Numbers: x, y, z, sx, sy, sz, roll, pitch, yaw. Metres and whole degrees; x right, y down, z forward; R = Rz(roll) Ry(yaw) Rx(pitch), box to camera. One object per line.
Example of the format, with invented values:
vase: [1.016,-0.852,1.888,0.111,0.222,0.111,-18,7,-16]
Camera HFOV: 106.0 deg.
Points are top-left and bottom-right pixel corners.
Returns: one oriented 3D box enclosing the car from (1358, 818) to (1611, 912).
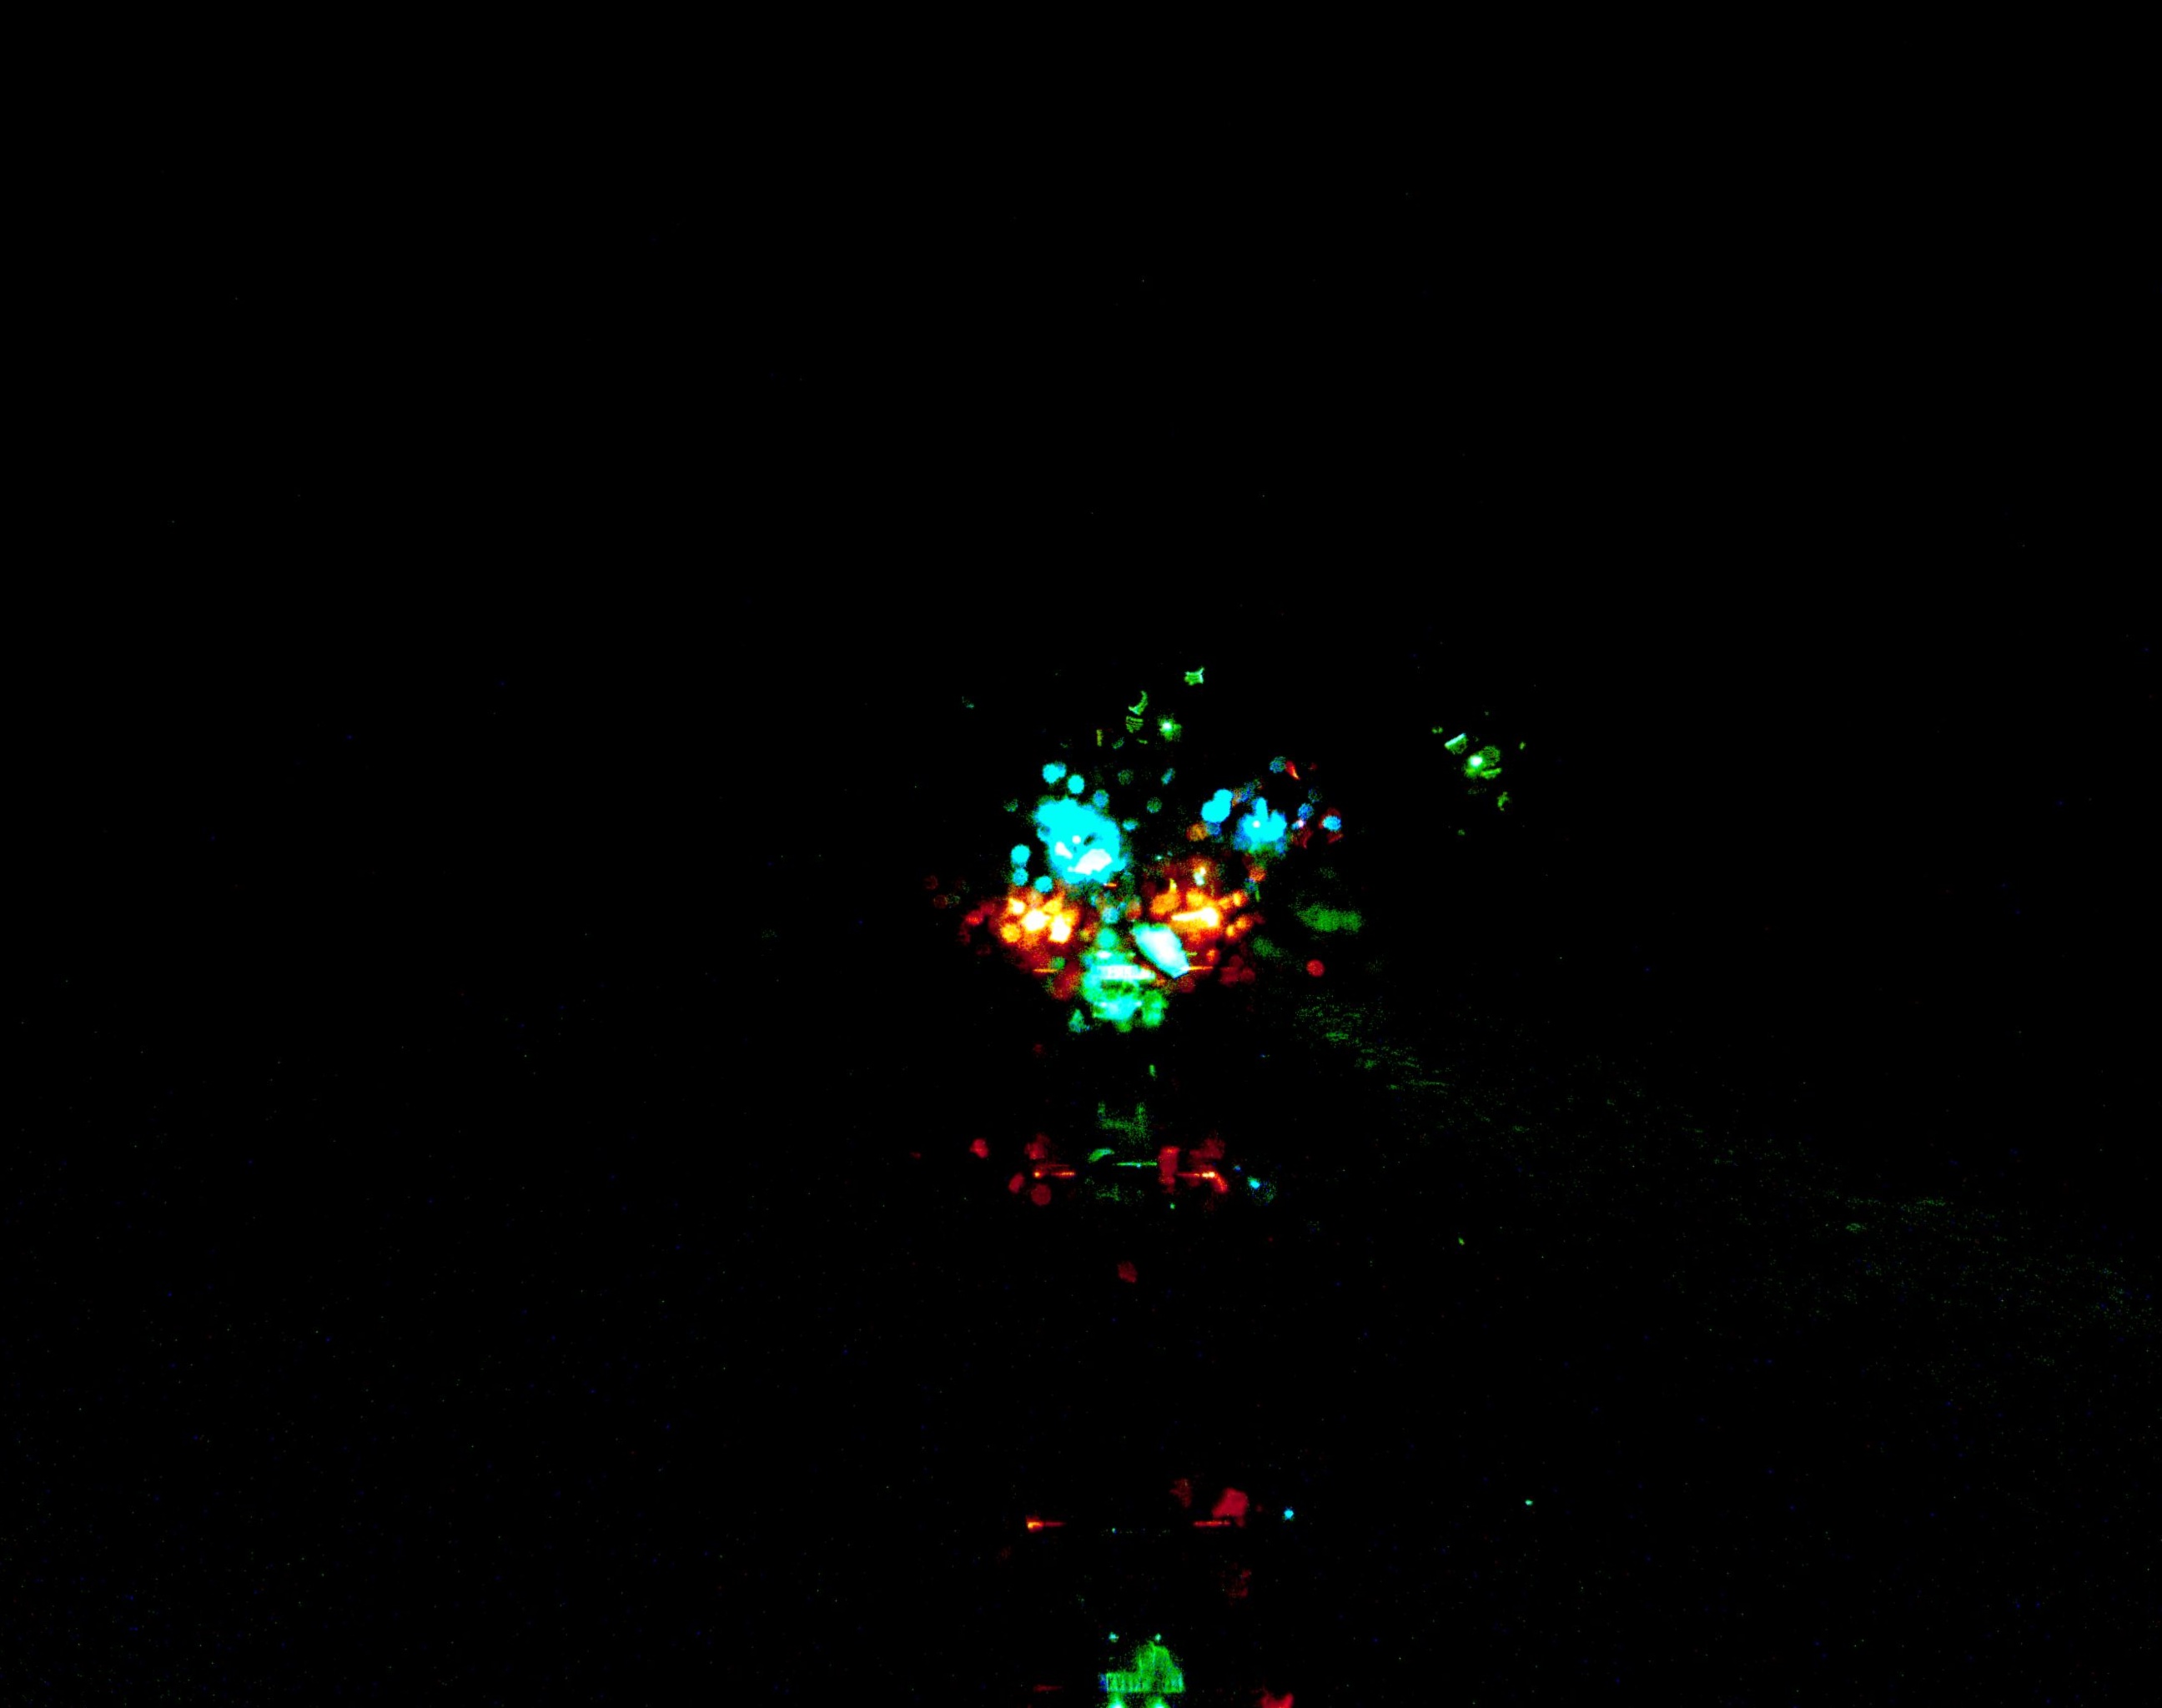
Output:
car: [8.418,0.236,17.431,4.437,1.586,1.946,-4,0,13]

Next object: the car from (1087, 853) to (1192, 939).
car: [1.233,0.802,17.648,1.901,1.510,4.245,-4,0,3]

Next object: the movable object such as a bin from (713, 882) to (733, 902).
movable object such as a bin: [-25.166,2.672,57.288,1.234,1.325,1.144,-2,0,-23]

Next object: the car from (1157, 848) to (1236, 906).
car: [4.360,0.801,30.147,1.755,1.947,4.278,1,0,24]

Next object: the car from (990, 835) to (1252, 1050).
car: [0.381,0.712,8.453,2.050,1.678,4.141,0,-1,2]
